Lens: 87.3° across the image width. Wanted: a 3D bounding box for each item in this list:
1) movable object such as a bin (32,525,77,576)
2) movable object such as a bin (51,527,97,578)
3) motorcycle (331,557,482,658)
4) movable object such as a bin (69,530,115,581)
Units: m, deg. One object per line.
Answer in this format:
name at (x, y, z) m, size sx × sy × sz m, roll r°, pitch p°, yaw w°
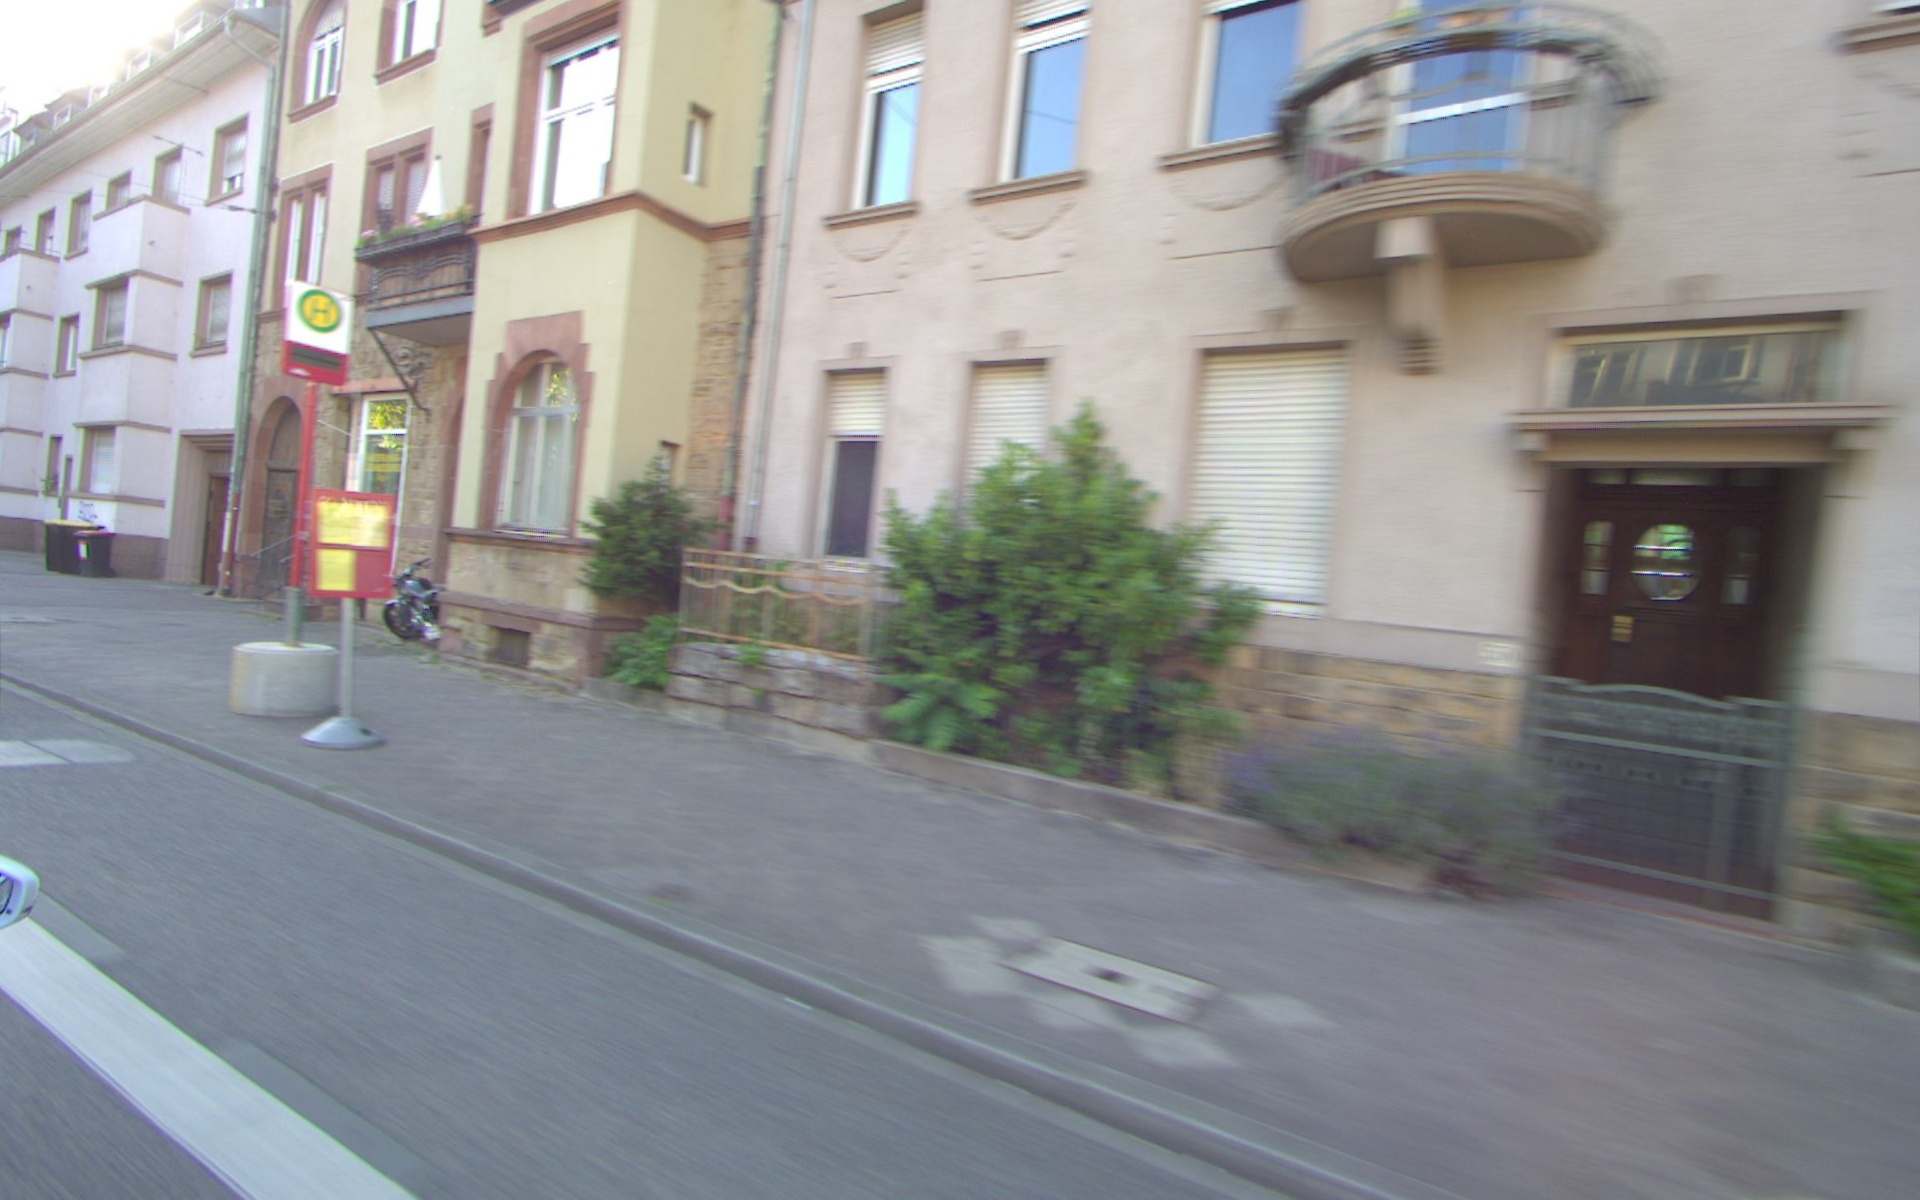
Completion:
movable object such as a bin at (-19.042, -1.042, 21.163) m, size 0.576 × 0.981 × 0.553 m, roll 6°, pitch 0°, yaw 37°
movable object such as a bin at (-18.360, -0.989, 20.856) m, size 0.576 × 0.981 × 0.553 m, roll 6°, pitch 0°, yaw 37°
motorcycle at (-7.586, 0.086, 13.729) m, size 2.464 × 1.151 × 0.590 m, roll 5°, pitch 0°, yaw 31°
movable object such as a bin at (-17.773, -0.911, 20.606) m, size 0.576 × 0.981 × 0.553 m, roll 6°, pitch 0°, yaw 37°
